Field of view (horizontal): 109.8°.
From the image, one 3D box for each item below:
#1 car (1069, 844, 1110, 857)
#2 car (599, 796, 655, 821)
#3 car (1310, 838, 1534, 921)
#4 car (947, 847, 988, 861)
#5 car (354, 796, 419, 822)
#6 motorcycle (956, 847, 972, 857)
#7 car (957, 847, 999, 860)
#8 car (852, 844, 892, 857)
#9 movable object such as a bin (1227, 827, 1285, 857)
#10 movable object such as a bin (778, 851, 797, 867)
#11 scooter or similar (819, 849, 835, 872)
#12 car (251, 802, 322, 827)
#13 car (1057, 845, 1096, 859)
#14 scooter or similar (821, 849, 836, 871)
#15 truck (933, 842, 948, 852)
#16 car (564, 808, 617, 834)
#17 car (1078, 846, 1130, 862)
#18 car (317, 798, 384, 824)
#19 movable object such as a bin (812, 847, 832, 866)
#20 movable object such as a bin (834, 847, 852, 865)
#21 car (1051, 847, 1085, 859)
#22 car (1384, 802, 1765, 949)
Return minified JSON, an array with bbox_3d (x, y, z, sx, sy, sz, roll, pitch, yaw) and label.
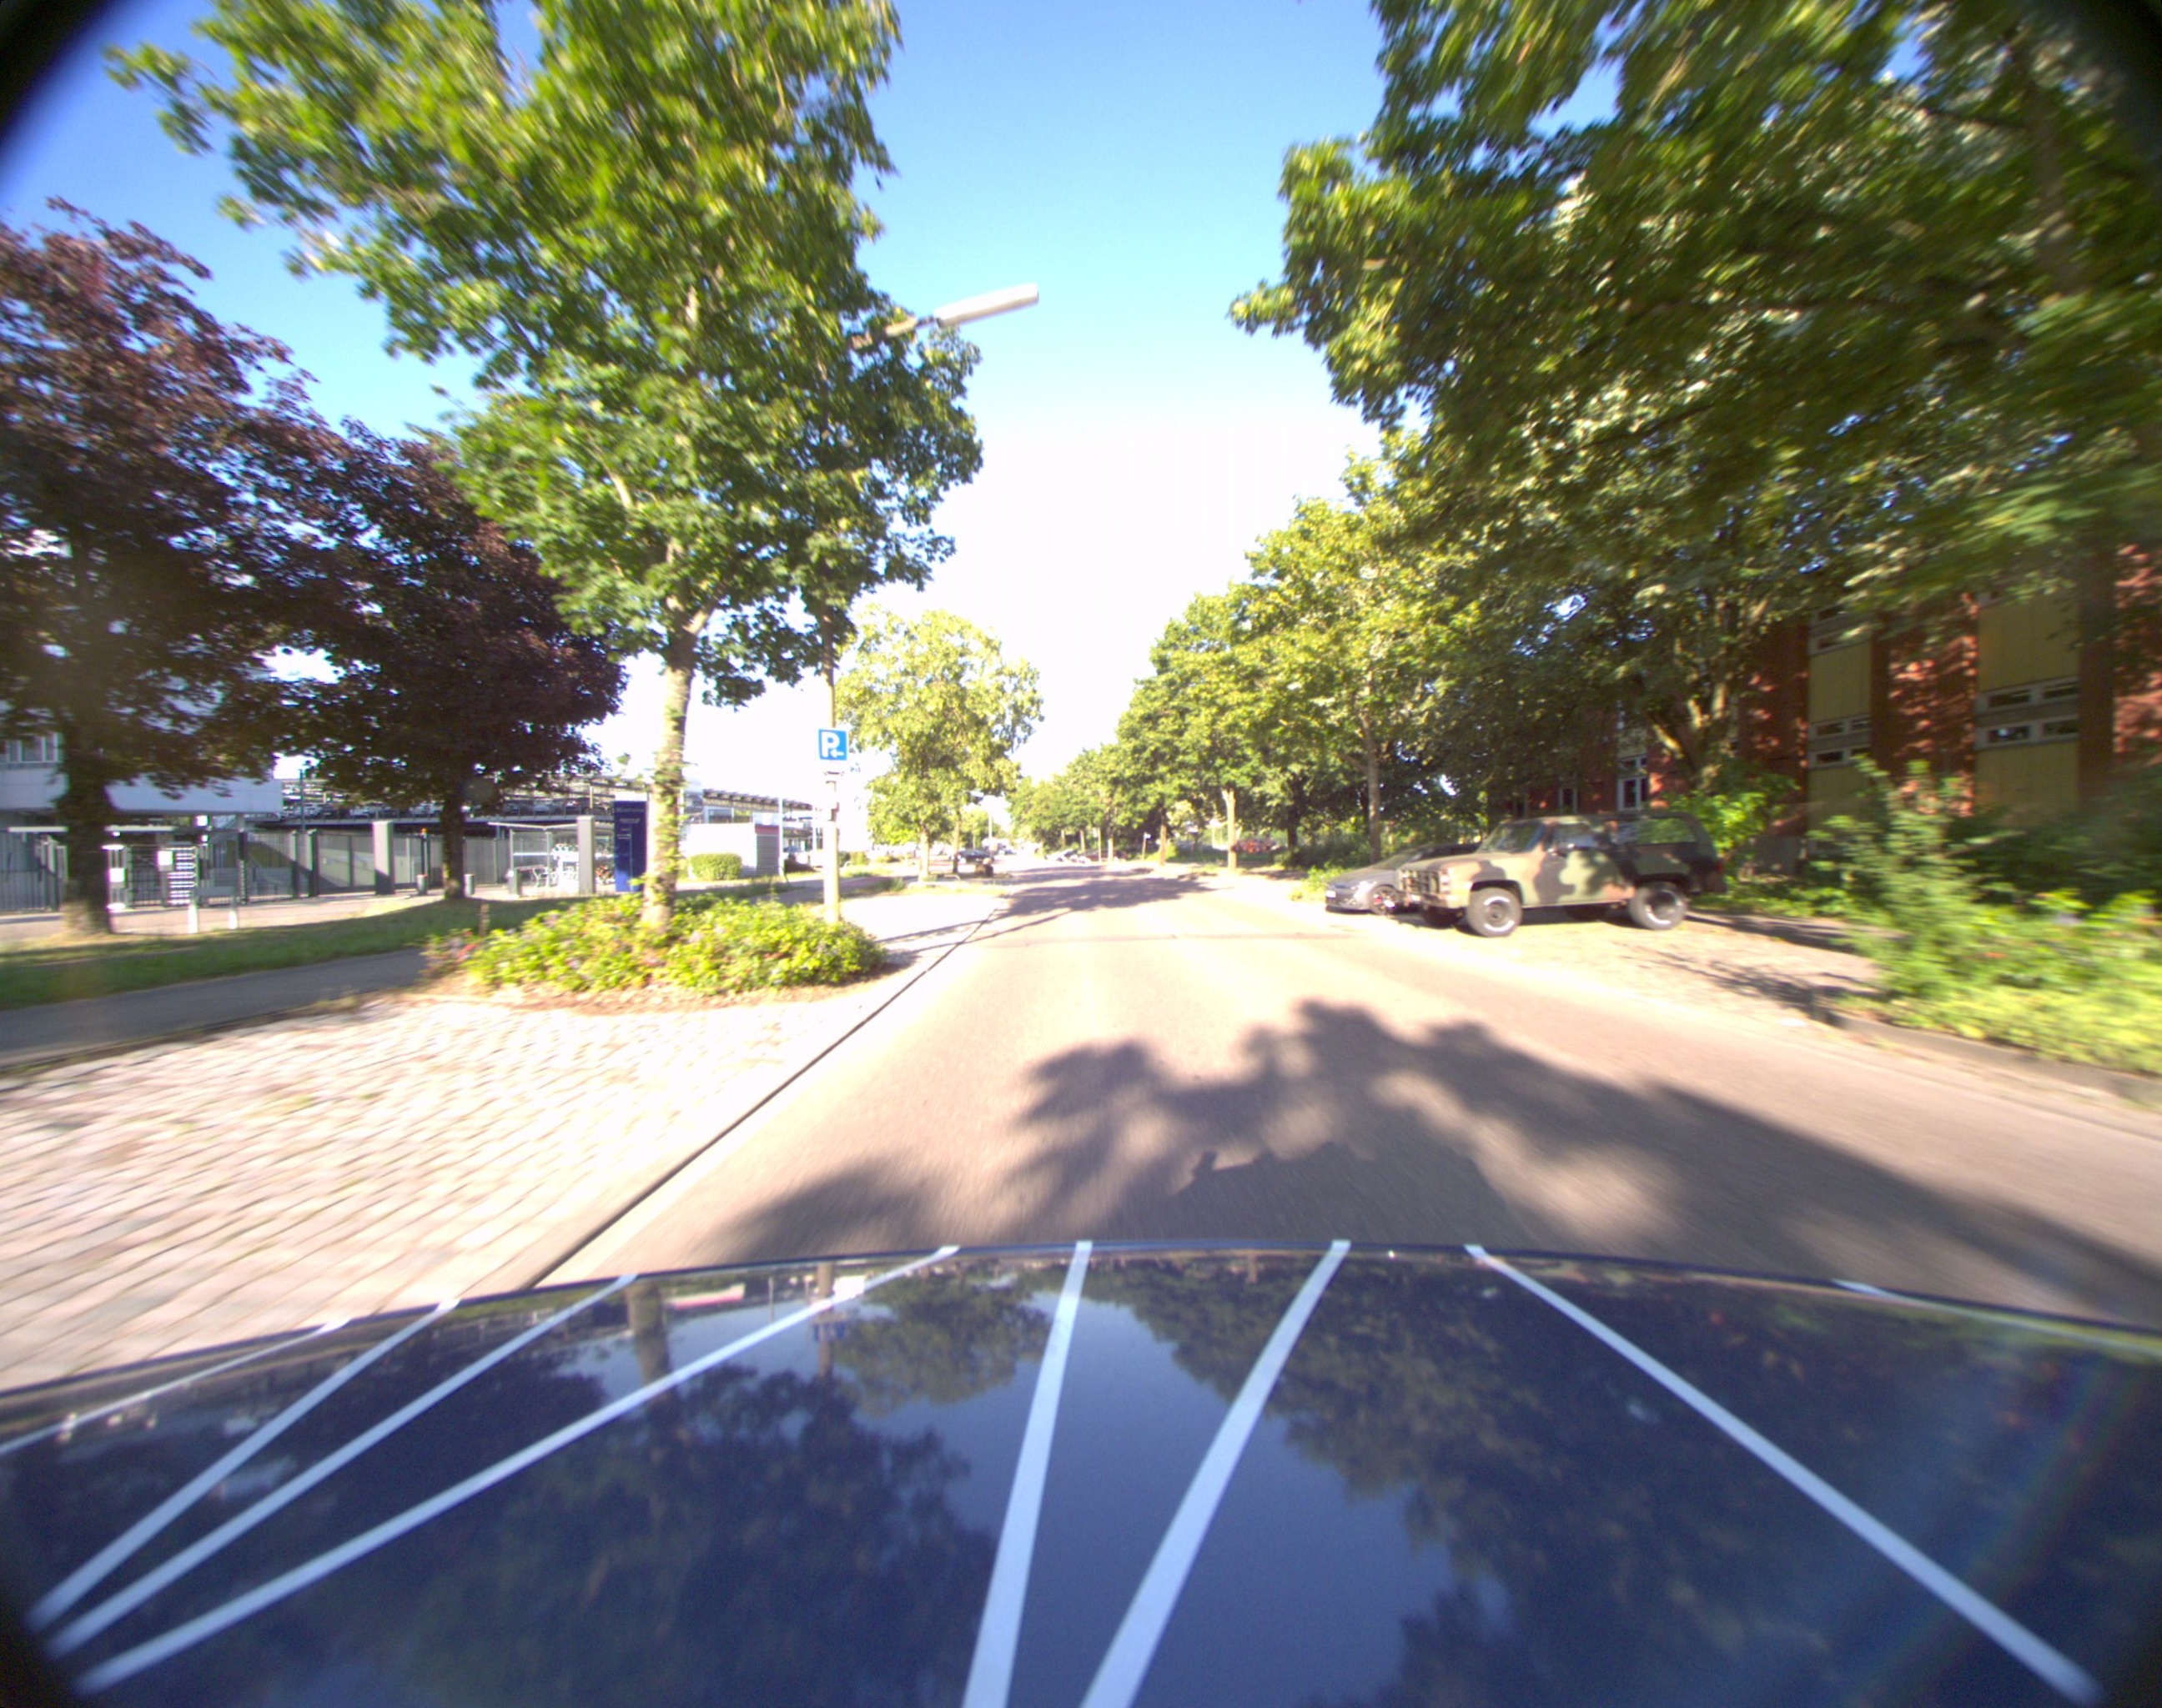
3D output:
[{"bbox_3d":[0.990,-0.389,87.833,4.495,1.454,1.998,-1,1,-10],"label":"car"},{"bbox_3d":[-44.464,-4.419,74.452,4.197,2.089,2.000,-3,0,2],"label":"car"},{"bbox_3d":[7.538,0.523,17.002,4.224,1.521,1.704,-3,1,-4],"label":"car"},{"bbox_3d":[-13.018,0.020,87.129,4.496,1.542,2.032,-1,1,-8],"label":"car"},{"bbox_3d":[-64.715,-4.136,70.910,1.998,2.089,4.202,-3,0,2],"label":"car"},{"bbox_3d":[-17.227,-0.333,111.937,2.133,1.457,0.948,0,1,-26],"label":"motorcycle"},{"bbox_3d":[-11.526,-0.030,84.865,4.496,1.396,2.031,-1,1,-10],"label":"car"},{"bbox_3d":[-29.018,-0.473,105.384,4.738,1.680,2.404,1,1,-37],"label":"car"},{"bbox_3d":[16.153,-1.110,70.431,4.790,2.649,2.169,0,1,45],"label":"movable object such as a bin"},{"bbox_3d":[-23.851,0.380,61.775,1.120,1.260,1.037,-1,1,-3],"label":"movable object such as a bin"},{"bbox_3d":[-14.793,0.375,44.220,0.521,1.265,1.386,-1,1,-4],"label":"scooter or similar"},{"bbox_3d":[-74.168,-3.646,70.988,1.998,2.089,4.202,-3,0,2],"label":"car"},{"bbox_3d":[-0.558,-0.249,95.280,4.494,1.522,1.998,-3,1,-10],"label":"car"},{"bbox_3d":[-15.158,0.346,45.646,0.521,1.265,1.200,-1,1,-4],"label":"scooter or similar"},{"bbox_3d":[-38.284,-1.981,207.261,2.543,2.704,5.975,0,0,7],"label":"truck"},{"bbox_3d":[-45.004,-3.003,69.844,1.998,2.089,4.202,-3,0,2],"label":"car"},{"bbox_3d":[2.356,-0.004,78.027,5.052,1.454,1.998,-3,1,-10],"label":"car"},{"bbox_3d":[-67.628,-3.984,70.418,1.998,2.089,4.202,-3,0,2],"label":"car"},{"bbox_3d":[-20.918,0.209,61.358,1.214,1.475,1.037,-1,1,-3],"label":"movable object such as a bin"},{"bbox_3d":[-19.174,0.183,61.215,0.846,1.408,1.039,-2,0,23],"label":"movable object such as a bin"},{"bbox_3d":[-1.788,-0.149,103.073,4.300,1.522,1.998,-3,1,-9],"label":"car"},{"bbox_3d":[8.159,0.325,12.966,5.017,2.008,2.174,-3,1,0],"label":"car"}]
